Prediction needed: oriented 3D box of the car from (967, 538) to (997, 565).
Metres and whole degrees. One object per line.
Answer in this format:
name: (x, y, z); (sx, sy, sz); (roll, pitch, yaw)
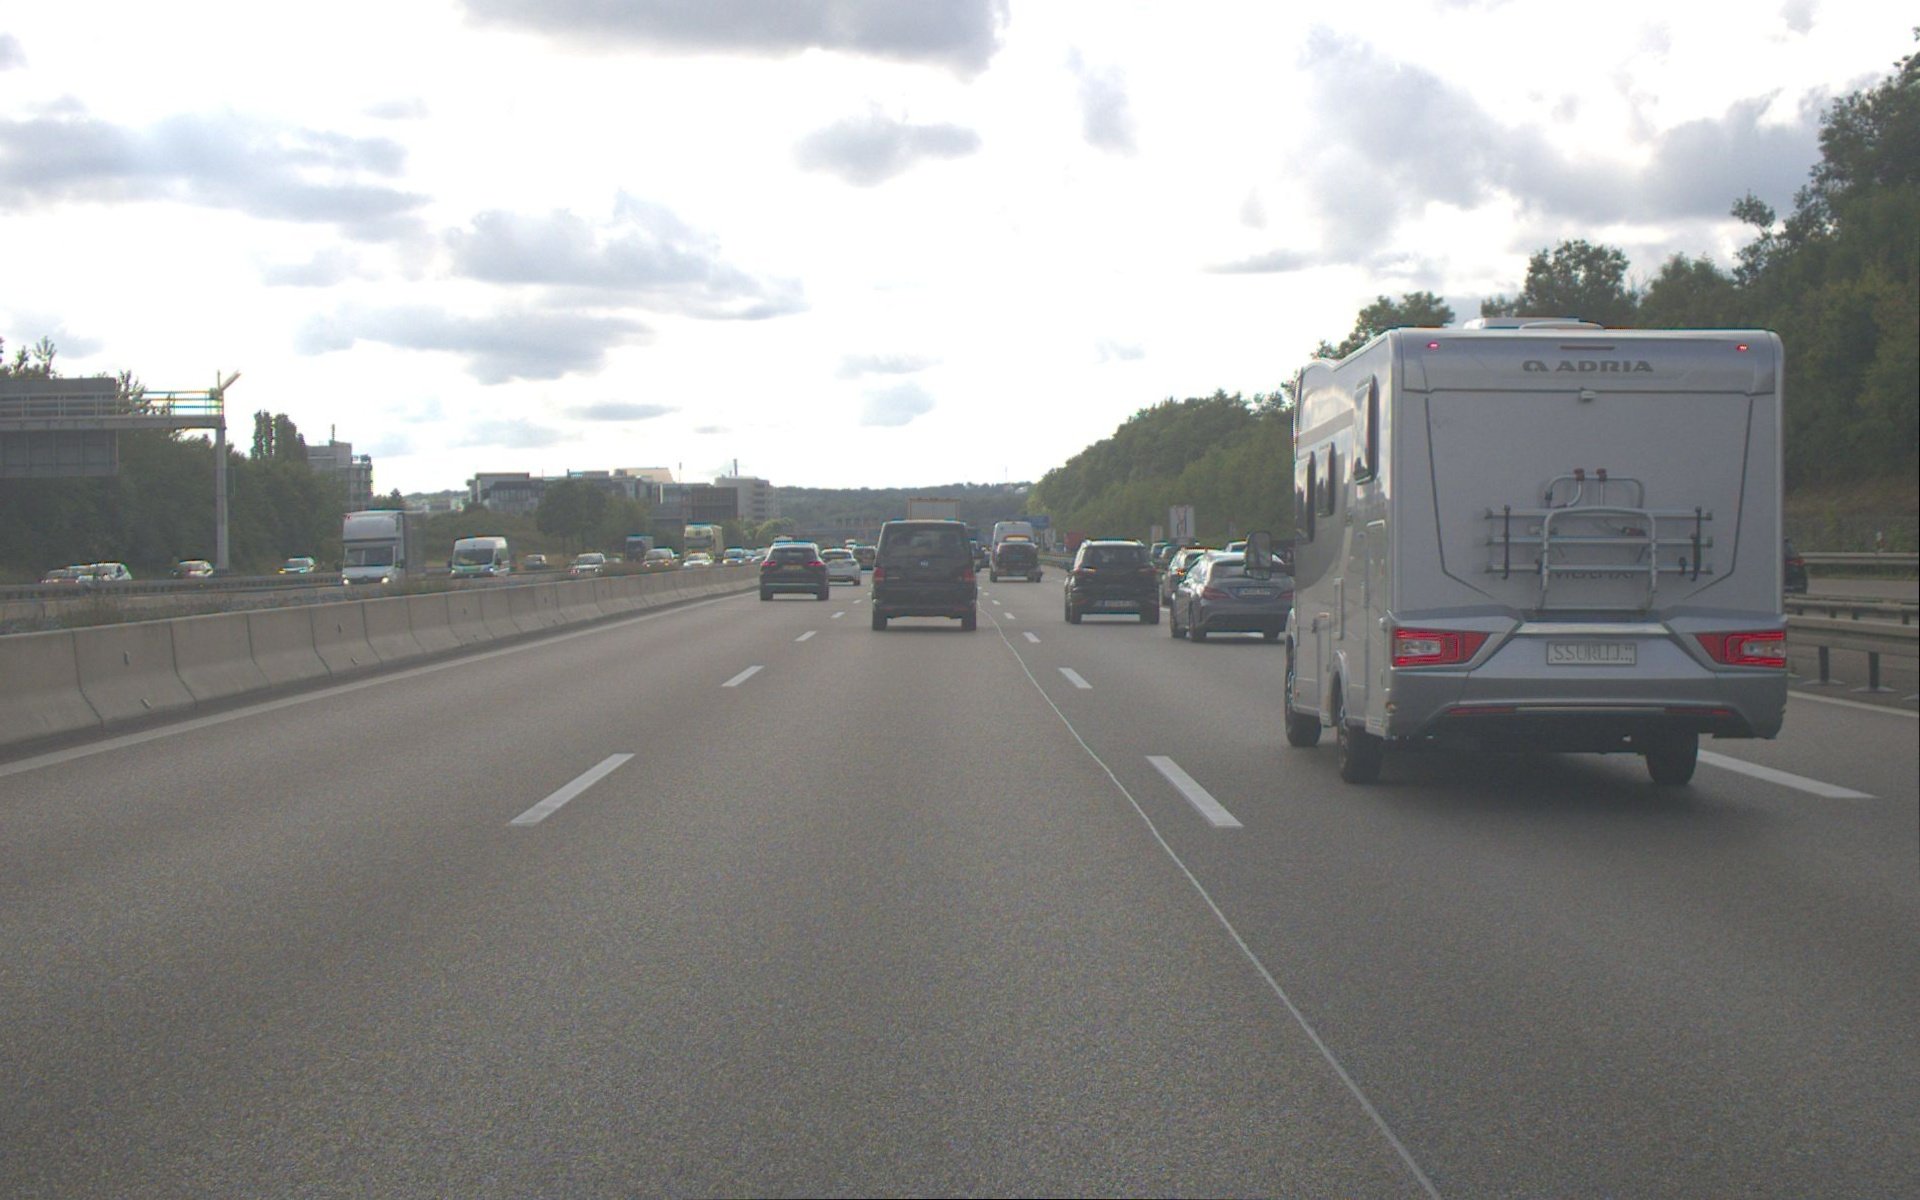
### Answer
car: (1.351, -3.022, 213.663); (1.752, 1.689, 4.190); (0, 1, -1)

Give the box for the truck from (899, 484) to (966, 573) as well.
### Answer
truck: (-1.428, -3.643, 175.320); (3.263, 4.360, 11.027); (1, 1, 0)

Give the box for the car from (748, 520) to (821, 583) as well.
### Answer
car: (-4.842, -1.347, 95.294); (1.873, 1.692, 4.072); (0, 1, -1)

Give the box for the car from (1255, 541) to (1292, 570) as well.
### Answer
car: (18.379, -2.634, 201.949); (1.752, 1.689, 4.190); (0, 1, -1)

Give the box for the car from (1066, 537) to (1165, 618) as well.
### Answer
car: (3.052, -0.469, 68.147); (1.697, 1.559, 4.114); (0, 1, -1)

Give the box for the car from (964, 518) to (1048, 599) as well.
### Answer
car: (0.975, -0.912, 74.707); (1.720, 1.718, 4.392); (0, 1, -1)

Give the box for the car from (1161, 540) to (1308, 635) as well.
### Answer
car: (4.368, -0.232, 55.326); (1.720, 1.474, 4.392); (0, 1, -4)

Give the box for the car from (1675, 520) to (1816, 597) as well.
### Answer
car: (16.375, -0.894, 71.876); (1.843, 1.479, 4.526); (-2, 1, 0)

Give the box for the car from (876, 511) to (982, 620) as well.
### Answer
car: (-0.560, -0.647, 62.166); (1.855, 1.904, 4.260); (0, 1, -1)

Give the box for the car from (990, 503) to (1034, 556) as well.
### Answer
car: (2.319, -3.162, 154.386); (1.873, 2.349, 4.282); (0, 1, -1)

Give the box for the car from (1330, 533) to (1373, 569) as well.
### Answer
car: (19.776, -2.480, 173.883); (1.595, 1.798, 3.825); (0, 1, -2)

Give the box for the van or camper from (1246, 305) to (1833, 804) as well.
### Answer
van or camper: (3.499, -0.317, 22.702); (2.468, 2.712, 7.662); (1, 1, -1)

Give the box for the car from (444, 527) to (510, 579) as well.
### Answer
car: (-22.065, -2.158, 157.267); (2.164, 2.263, 6.461); (-1, 1, -1)

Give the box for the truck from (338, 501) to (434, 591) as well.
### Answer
truck: (-21.441, -2.013, 128.817); (2.353, 3.252, 7.826); (-1, 1, -1)

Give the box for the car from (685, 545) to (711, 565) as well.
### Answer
car: (-18.270, -3.131, 240.240); (1.563, 1.360, 4.052); (-1, 1, -1)

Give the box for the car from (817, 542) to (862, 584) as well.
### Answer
car: (-4.676, -1.442, 133.532); (1.697, 1.605, 4.114); (0, 1, -1)

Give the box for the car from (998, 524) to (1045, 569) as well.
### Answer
car: (2.653, -2.328, 148.651); (1.913, 1.912, 4.030); (0, 1, -1)

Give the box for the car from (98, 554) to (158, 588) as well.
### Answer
car: (-34.311, -1.211, 141.824); (1.563, 1.360, 4.052); (-1, 1, -1)
